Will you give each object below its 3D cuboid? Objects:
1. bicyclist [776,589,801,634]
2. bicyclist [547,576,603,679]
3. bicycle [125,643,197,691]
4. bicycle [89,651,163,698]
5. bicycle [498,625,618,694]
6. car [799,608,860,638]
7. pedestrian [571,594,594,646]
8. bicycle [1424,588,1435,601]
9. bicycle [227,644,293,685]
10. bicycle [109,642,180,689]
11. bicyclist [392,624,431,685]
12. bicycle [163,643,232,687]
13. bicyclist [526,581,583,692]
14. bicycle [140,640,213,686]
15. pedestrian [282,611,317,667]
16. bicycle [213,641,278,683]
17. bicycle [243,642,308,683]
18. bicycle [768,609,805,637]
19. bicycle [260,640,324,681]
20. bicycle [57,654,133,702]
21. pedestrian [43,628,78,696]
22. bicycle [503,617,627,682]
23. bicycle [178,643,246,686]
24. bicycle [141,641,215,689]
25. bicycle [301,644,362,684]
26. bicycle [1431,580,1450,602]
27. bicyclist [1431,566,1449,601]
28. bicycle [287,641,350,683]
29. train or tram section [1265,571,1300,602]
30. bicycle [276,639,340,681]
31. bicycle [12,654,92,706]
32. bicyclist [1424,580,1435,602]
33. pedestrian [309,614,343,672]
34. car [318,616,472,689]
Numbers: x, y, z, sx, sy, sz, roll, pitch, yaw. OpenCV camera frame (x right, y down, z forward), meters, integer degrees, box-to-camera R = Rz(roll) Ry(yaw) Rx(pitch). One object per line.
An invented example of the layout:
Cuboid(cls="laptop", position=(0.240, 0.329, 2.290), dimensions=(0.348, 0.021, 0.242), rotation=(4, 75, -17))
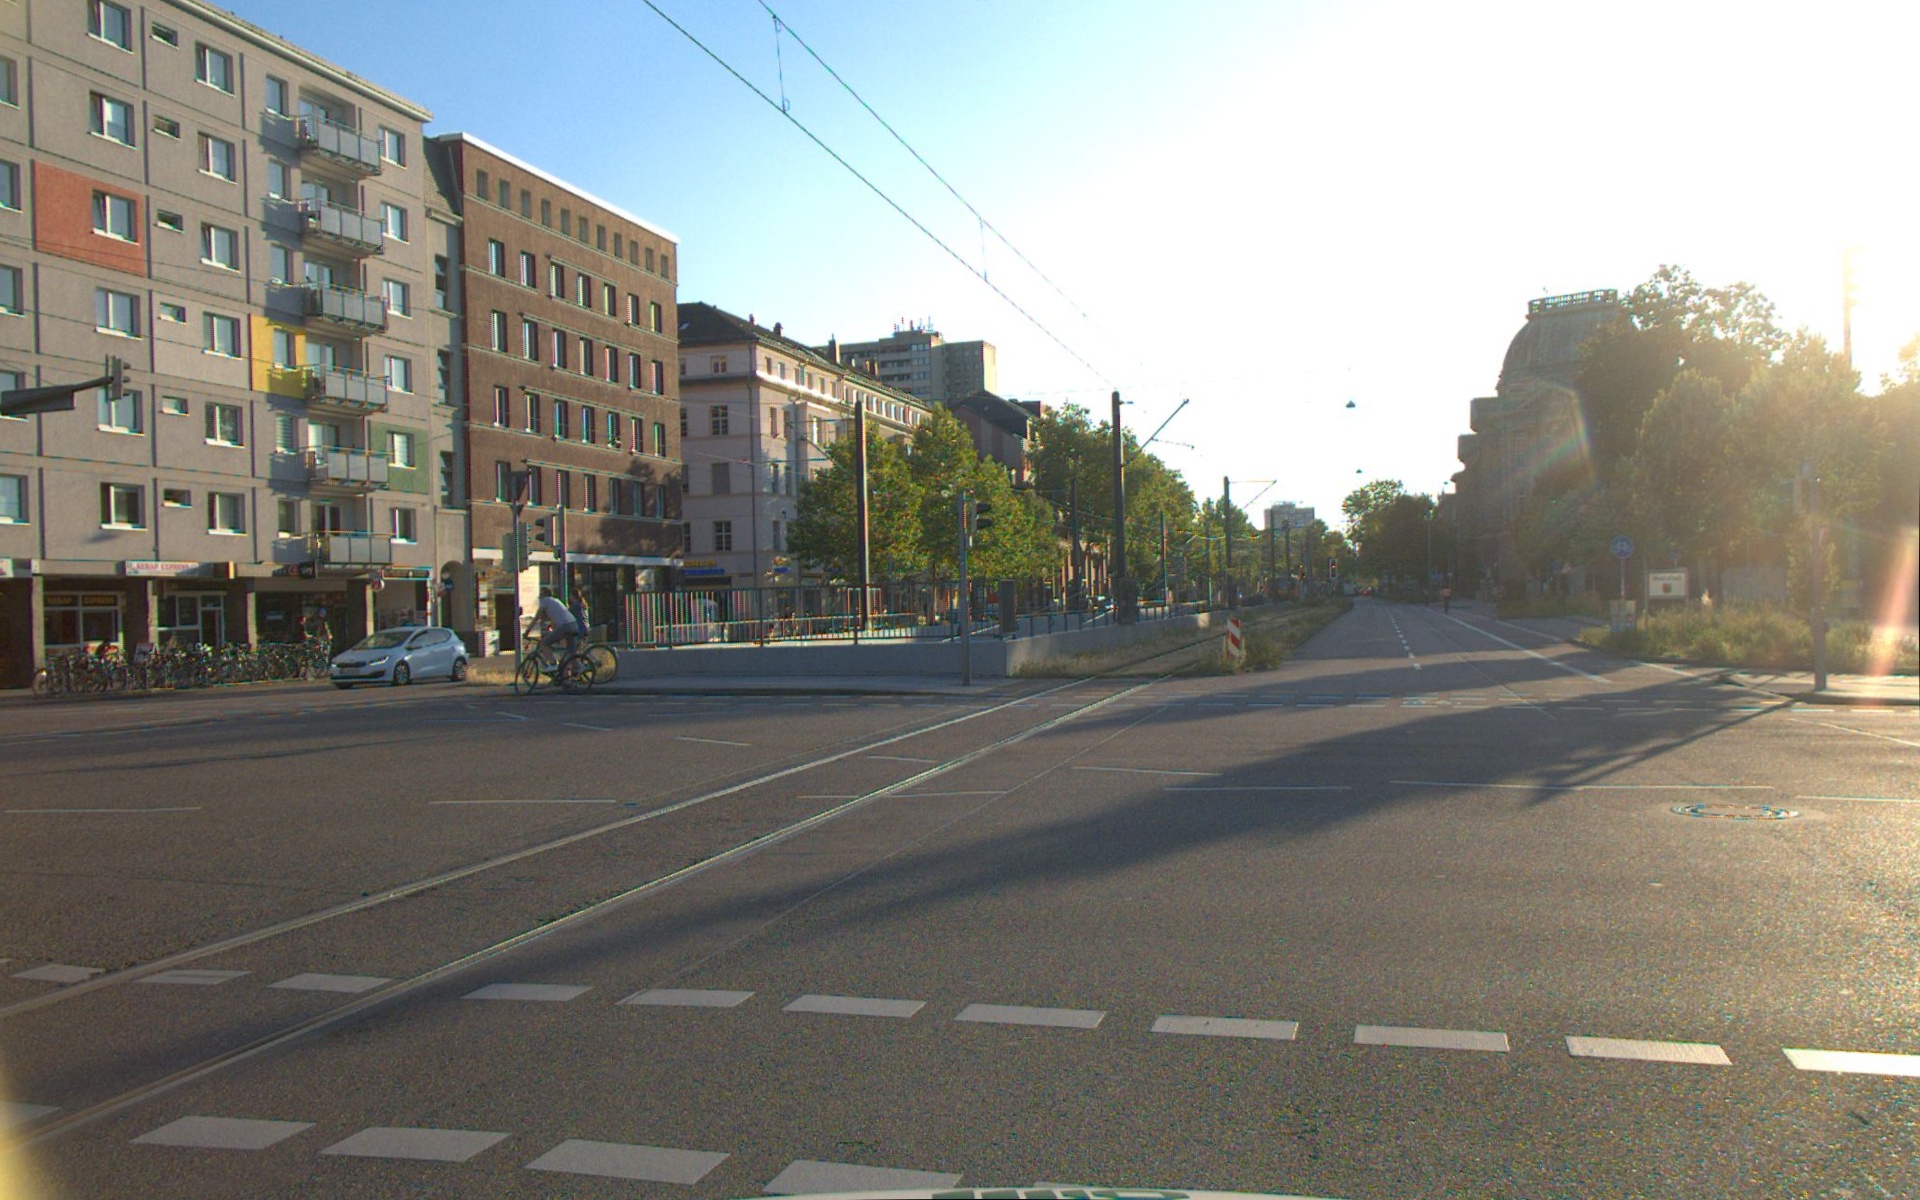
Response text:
Cuboid(cls="bicyclist", position=(-7.996, 0.550, 77.097), dimensions=(0.780, 2.049, 0.924), rotation=(-2, 0, 16))
Cuboid(cls="bicyclist", position=(-7.062, 0.496, 30.353), dimensions=(0.858, 1.850, 0.538), rotation=(-2, 0, -2))
Cuboid(cls="bicycle", position=(-21.052, 1.768, 43.599), dimensions=(1.731, 1.202, 0.568), rotation=(-2, 0, 14))
Cuboid(cls="bicycle", position=(-21.465, 1.925, 42.550), dimensions=(1.719, 1.159, 0.600), rotation=(-2, 0, 15))
Cuboid(cls="bicycle", position=(-6.873, 1.014, 28.309), dimensions=(1.862, 1.094, 0.632), rotation=(-2, 0, -1))
Cuboid(cls="car", position=(-6.823, 1.199, 86.702), dimensions=(1.781, 1.445, 4.002), rotation=(-2, 0, 18))
Cuboid(cls="pedestrian", position=(-16.477, 0.878, 72.178), dimensions=(0.589, 2.216, 0.793), rotation=(-2, 0, 14))
Cuboid(cls="bicycle", position=(44.246, -0.522, 155.777), dimensions=(0.904, 1.131, 2.335), rotation=(-2, 0, 14))
Cuboid(cls="bicycle", position=(-20.053, 1.846, 47.386), dimensions=(1.723, 1.139, 0.568), rotation=(-2, 0, 15))
Cuboid(cls="bicycle", position=(-21.214, 1.706, 43.025), dimensions=(1.728, 1.188, 0.541), rotation=(-2, 0, 15))
Cuboid(cls="bicyclist", position=(-16.140, 1.602, 48.681), dimensions=(0.688, 1.773, 0.791), rotation=(-2, 0, 26))
Cuboid(cls="bicycle", position=(-21.103, 1.801, 45.775), dimensions=(1.738, 1.179, 0.606), rotation=(-2, 0, 15))
Cuboid(cls="bicyclist", position=(-6.931, 0.619, 28.293), dimensions=(0.777, 1.850, 0.646), rotation=(-2, 0, -3))
Cuboid(cls="bicycle", position=(-21.381, 1.721, 45.120), dimensions=(1.792, 1.181, 0.641), rotation=(-2, 0, 15))
Cuboid(cls="pedestrian", position=(-22.176, 1.306, 55.552), dimensions=(0.809, 1.844, 0.721), rotation=(-2, 0, 4))
Cuboid(cls="bicycle", position=(-20.225, 1.764, 46.825), dimensions=(1.717, 1.136, 0.552), rotation=(-2, 0, 15))
Cuboid(cls="bicycle", position=(-19.870, 1.802, 48.007), dimensions=(1.690, 1.144, 0.634), rotation=(-2, -1, 16))
Cuboid(cls="bicycle", position=(-8.048, 1.049, 76.914), dimensions=(0.795, 1.222, 2.414), rotation=(-2, 0, 17))
Cuboid(cls="bicycle", position=(-19.647, 1.781, 48.666), dimensions=(1.655, 1.173, 0.706), rotation=(-2, 0, 17))
Cuboid(cls="bicycle", position=(-21.982, 1.975, 42.030), dimensions=(1.738, 1.162, 0.609), rotation=(-2, 0, 15))
Cuboid(cls="pedestrian", position=(-23.161, 1.593, 42.603), dimensions=(0.568, 1.713, 0.546), rotation=(-2, 0, -6))
Cuboid(cls="bicycle", position=(-7.234, 0.905, 30.343), dimensions=(2.120, 1.102, 0.538), rotation=(-2, 0, -3))
Cuboid(cls="bicycle", position=(-20.984, 1.814, 46.414), dimensions=(1.733, 1.156, 0.606), rotation=(-2, 0, 15))
Cuboid(cls="bicycle", position=(-20.918, 1.743, 44.240), dimensions=(1.750, 1.212, 0.652), rotation=(-2, 0, 14))
Cuboid(cls="bicycle", position=(-19.340, 1.979, 50.923), dimensions=(1.655, 1.164, 0.697), rotation=(-2, 0, 17))
Cuboid(cls="bicycle", position=(31.585, -0.608, 108.706), dimensions=(1.074, 1.423, 2.834), rotation=(-2, 0, 14))
Cuboid(cls="bicyclist", position=(31.566, -1.085, 108.718), dimensions=(1.059, 2.316, 0.987), rotation=(-1, 0, 14))
Cuboid(cls="bicycle", position=(-19.459, 1.877, 50.194), dimensions=(1.655, 1.190, 0.749), rotation=(-2, 0, 17))
Cuboid(cls="train or tram section", position=(42.191, -1.777, 216.856), dimensions=(4.292, 3.917, 11.420), rotation=(-2, 0, 10))
Cuboid(cls="bicycle", position=(-19.474, 1.789, 49.388), dimensions=(1.655, 1.199, 0.749), rotation=(-2, 0, 17))
Cuboid(cls="bicycle", position=(-22.614, 1.990, 41.190), dimensions=(1.756, 1.229, 0.639), rotation=(-2, 0, 14))
Cuboid(cls="bicyclist", position=(44.224, -0.868, 155.764), dimensions=(0.906, 2.049, 0.851), rotation=(-1, 0, 14))
Cuboid(cls="pedestrian", position=(-21.217, 1.439, 55.373), dimensions=(0.769, 1.873, 0.735), rotation=(-2, 0, 6))
Cuboid(cls="car", position=(-14.166, 1.281, 41.680), dimensions=(1.653, 1.646, 4.003), rotation=(-2, 0, 16))
